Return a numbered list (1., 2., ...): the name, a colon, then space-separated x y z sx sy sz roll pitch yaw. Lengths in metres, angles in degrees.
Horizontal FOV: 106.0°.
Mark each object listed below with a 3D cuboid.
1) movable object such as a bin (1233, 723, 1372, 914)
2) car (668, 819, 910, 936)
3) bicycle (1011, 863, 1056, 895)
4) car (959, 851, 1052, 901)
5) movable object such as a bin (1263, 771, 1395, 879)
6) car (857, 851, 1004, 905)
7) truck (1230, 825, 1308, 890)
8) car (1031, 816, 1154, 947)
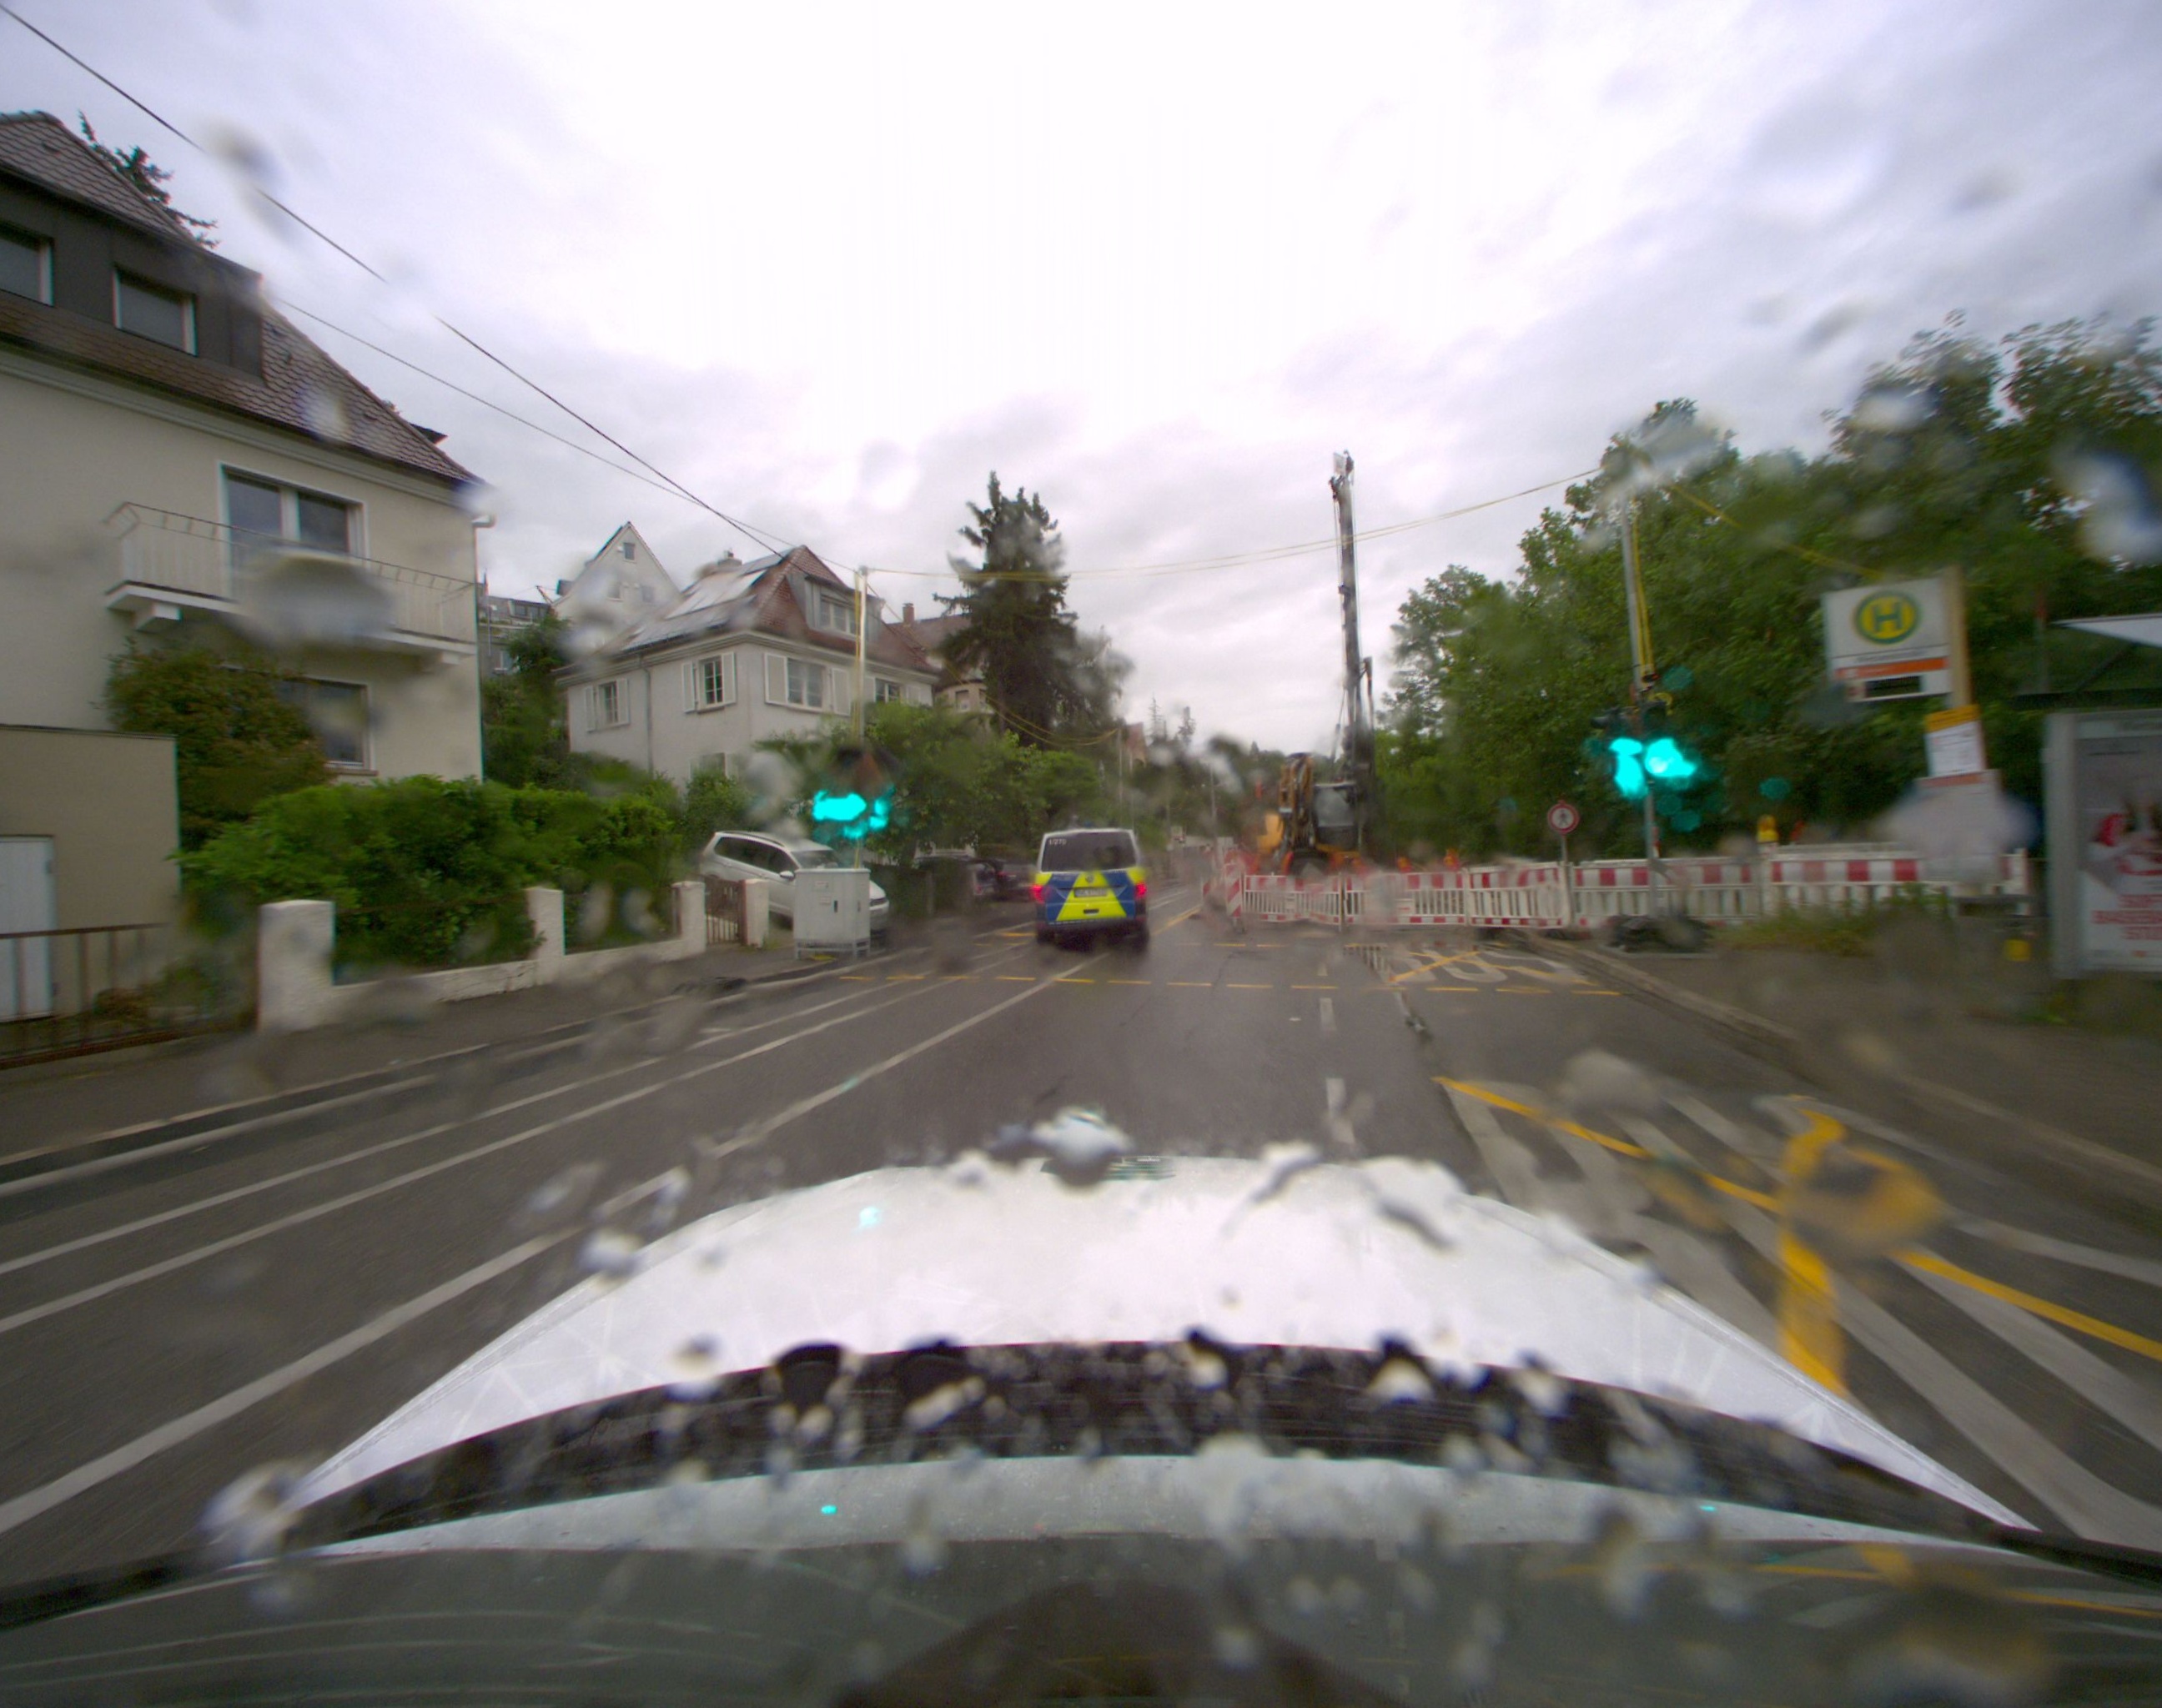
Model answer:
1. movable object such as a bin: 5.670 -0.789 20.516 2.855 4.170 4.508 -3 0 18
2. car: -6.343 0.397 17.604 4.920 1.616 1.875 10 5 25
3. bicycle: -1.724 0.906 29.544 1.603 1.131 0.446 -1 -1 28
4. car: -2.611 0.695 27.307 1.791 1.525 3.964 0 -1 -27
5. movable object such as a bin: 13.182 -1.389 42.949 3.647 5.066 7.206 -4 -2 43
6. car: -4.550 0.709 24.652 3.951 1.526 1.952 -1 -1 24
7. truck: 6.892 0.154 29.698 2.532 2.108 3.317 -3 -2 15
8. car: 0.191 0.460 14.839 1.901 2.010 4.439 0 -1 0
